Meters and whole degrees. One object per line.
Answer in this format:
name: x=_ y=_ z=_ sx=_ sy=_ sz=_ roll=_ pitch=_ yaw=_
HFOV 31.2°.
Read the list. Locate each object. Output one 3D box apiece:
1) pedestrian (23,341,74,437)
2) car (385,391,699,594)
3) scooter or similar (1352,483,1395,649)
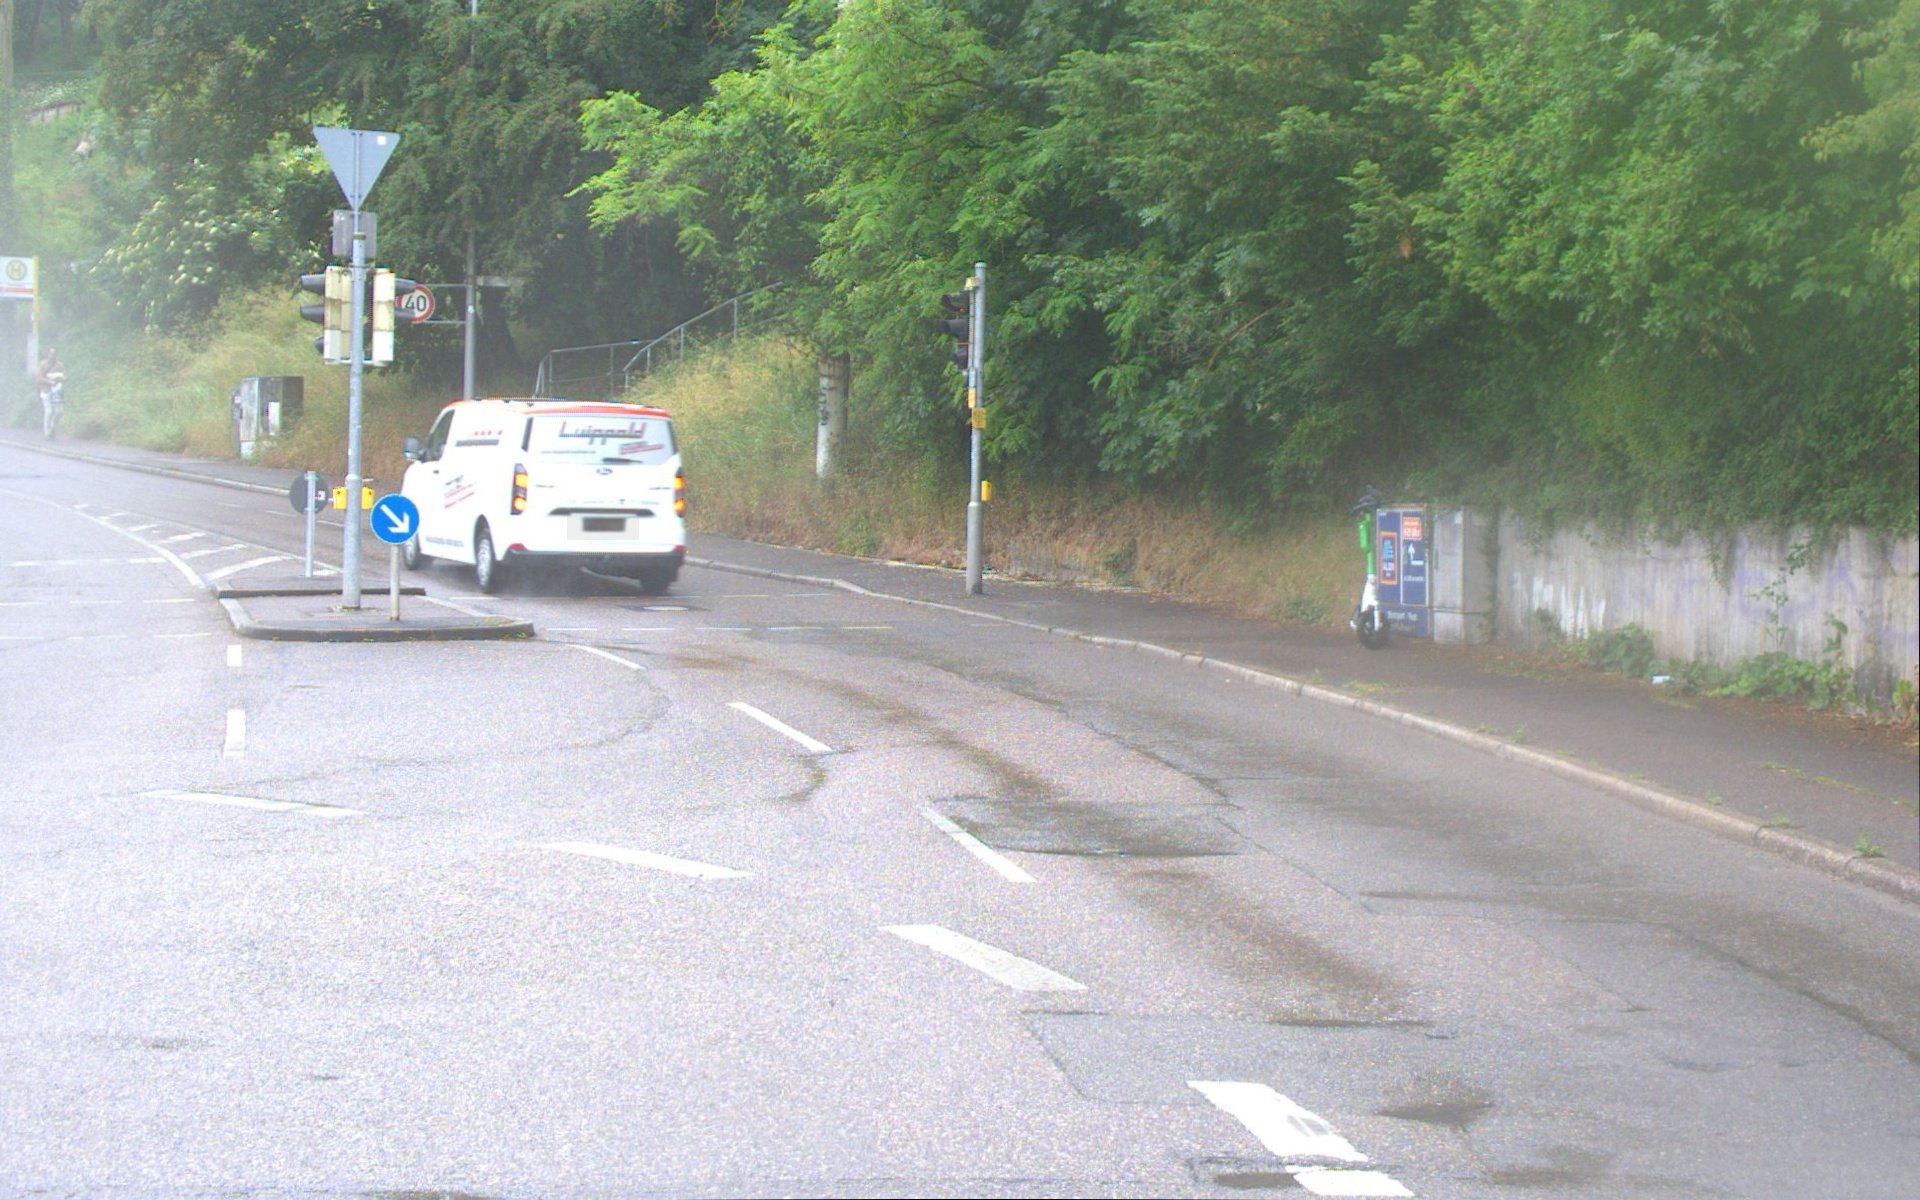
pedestrian: x=-17.131 y=-3.959 z=64.589 sx=0.880 sy=1.730 sz=0.866 roll=1 pitch=0 yaw=-18
car: x=-4.528 y=-1.151 z=36.550 sx=2.065 sy=1.999 sz=4.816 roll=0 pitch=2 yaw=-23
scooter or similar: x=3.273 y=-0.276 z=27.233 sx=0.322 sy=1.275 sz=0.751 roll=0 pitch=4 yaw=7
